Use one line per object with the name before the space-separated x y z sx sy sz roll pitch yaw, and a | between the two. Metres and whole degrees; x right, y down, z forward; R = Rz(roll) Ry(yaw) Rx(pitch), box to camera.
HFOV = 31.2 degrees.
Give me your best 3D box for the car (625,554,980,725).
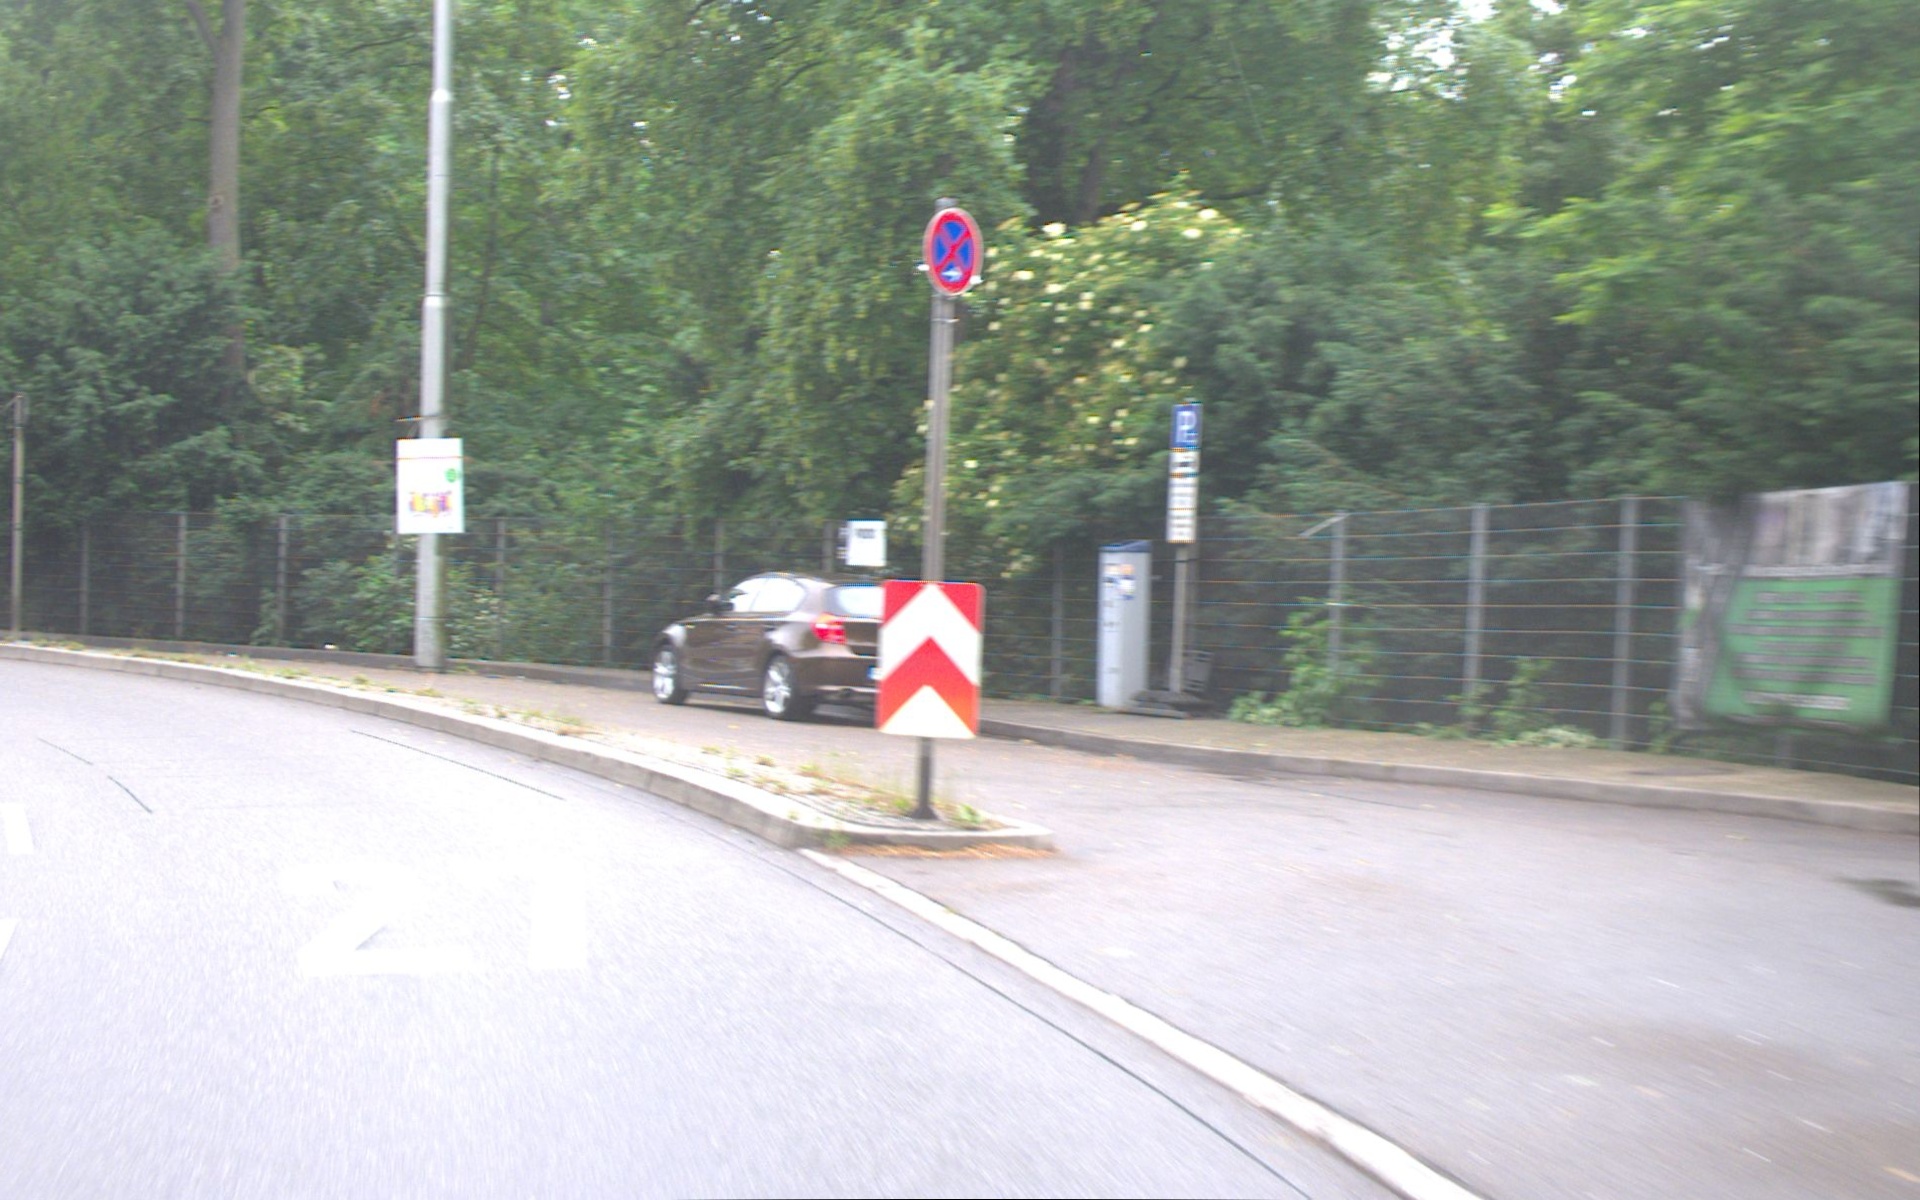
car | -1.632 0.353 33.885 1.687 1.422 4.372 4 0 -28
